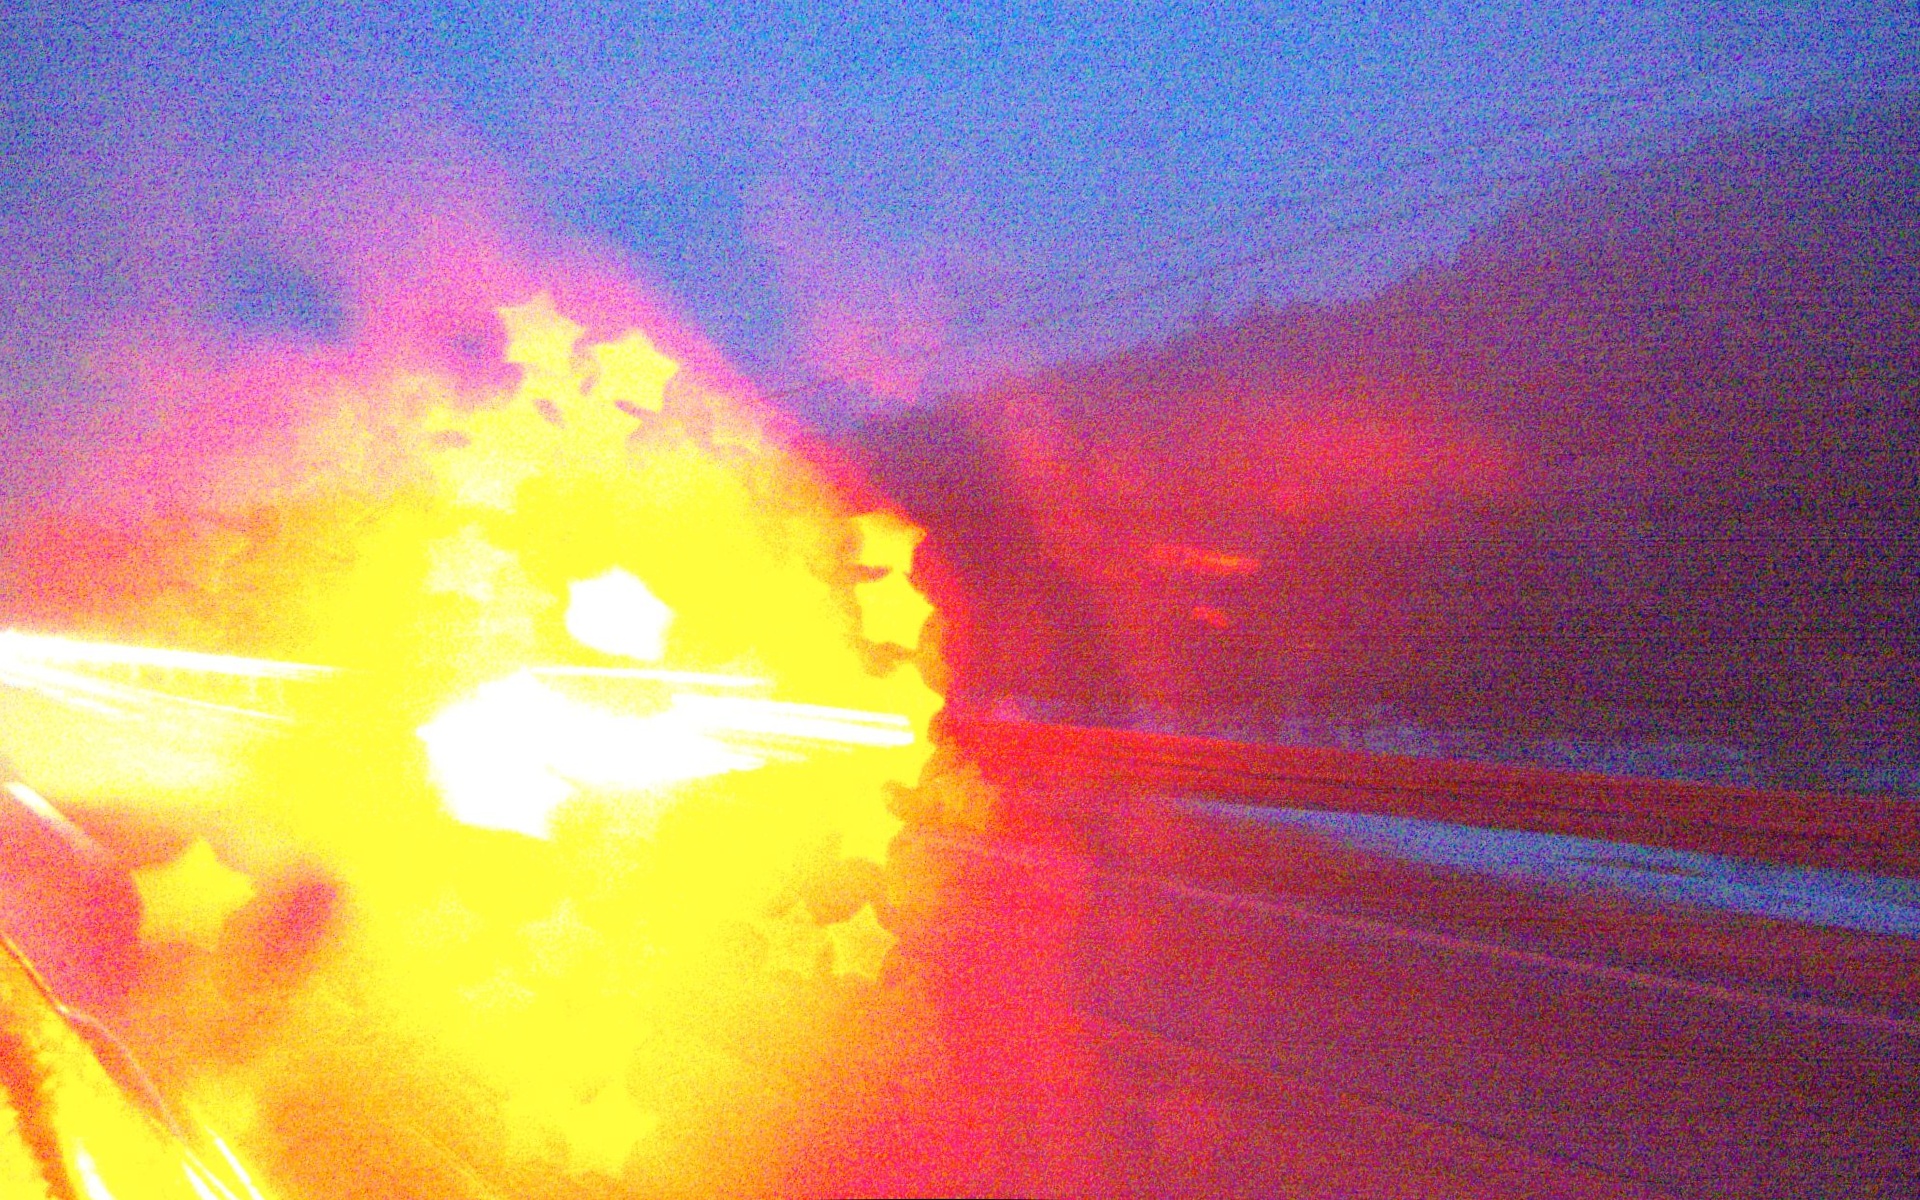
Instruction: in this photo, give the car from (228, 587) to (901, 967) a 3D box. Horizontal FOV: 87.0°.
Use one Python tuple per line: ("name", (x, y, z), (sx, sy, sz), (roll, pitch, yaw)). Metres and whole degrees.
("car", (-2.630, 0.701, 6.124), (4.427, 1.459, 1.973), (-1, 0, 41))
